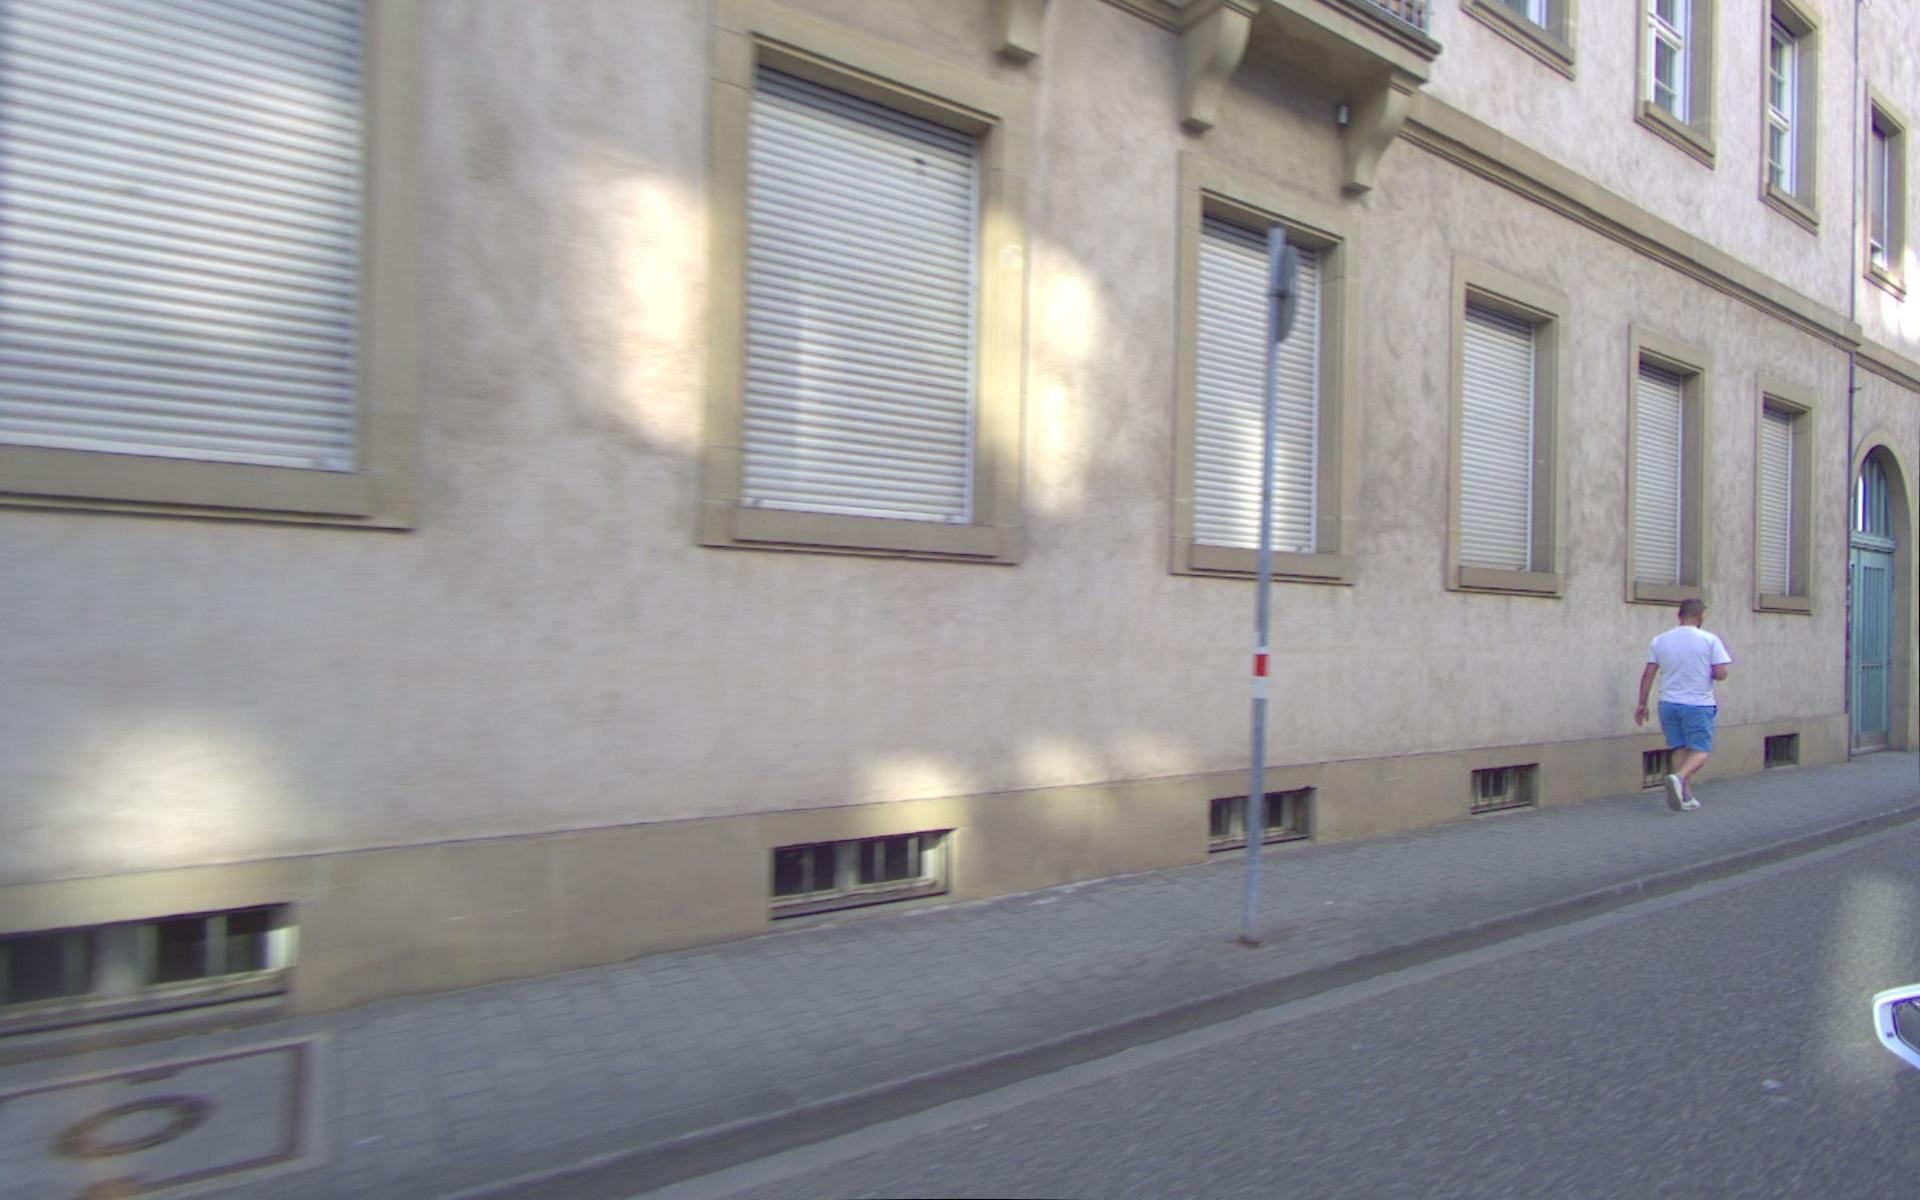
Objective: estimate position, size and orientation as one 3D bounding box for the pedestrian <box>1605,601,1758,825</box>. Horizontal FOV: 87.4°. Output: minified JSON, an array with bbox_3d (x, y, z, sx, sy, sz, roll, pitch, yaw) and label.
[{"bbox_3d":[5.875,0.879,8.190,0.865,1.692,0.689,2,1,-32],"label":"pedestrian"}]
